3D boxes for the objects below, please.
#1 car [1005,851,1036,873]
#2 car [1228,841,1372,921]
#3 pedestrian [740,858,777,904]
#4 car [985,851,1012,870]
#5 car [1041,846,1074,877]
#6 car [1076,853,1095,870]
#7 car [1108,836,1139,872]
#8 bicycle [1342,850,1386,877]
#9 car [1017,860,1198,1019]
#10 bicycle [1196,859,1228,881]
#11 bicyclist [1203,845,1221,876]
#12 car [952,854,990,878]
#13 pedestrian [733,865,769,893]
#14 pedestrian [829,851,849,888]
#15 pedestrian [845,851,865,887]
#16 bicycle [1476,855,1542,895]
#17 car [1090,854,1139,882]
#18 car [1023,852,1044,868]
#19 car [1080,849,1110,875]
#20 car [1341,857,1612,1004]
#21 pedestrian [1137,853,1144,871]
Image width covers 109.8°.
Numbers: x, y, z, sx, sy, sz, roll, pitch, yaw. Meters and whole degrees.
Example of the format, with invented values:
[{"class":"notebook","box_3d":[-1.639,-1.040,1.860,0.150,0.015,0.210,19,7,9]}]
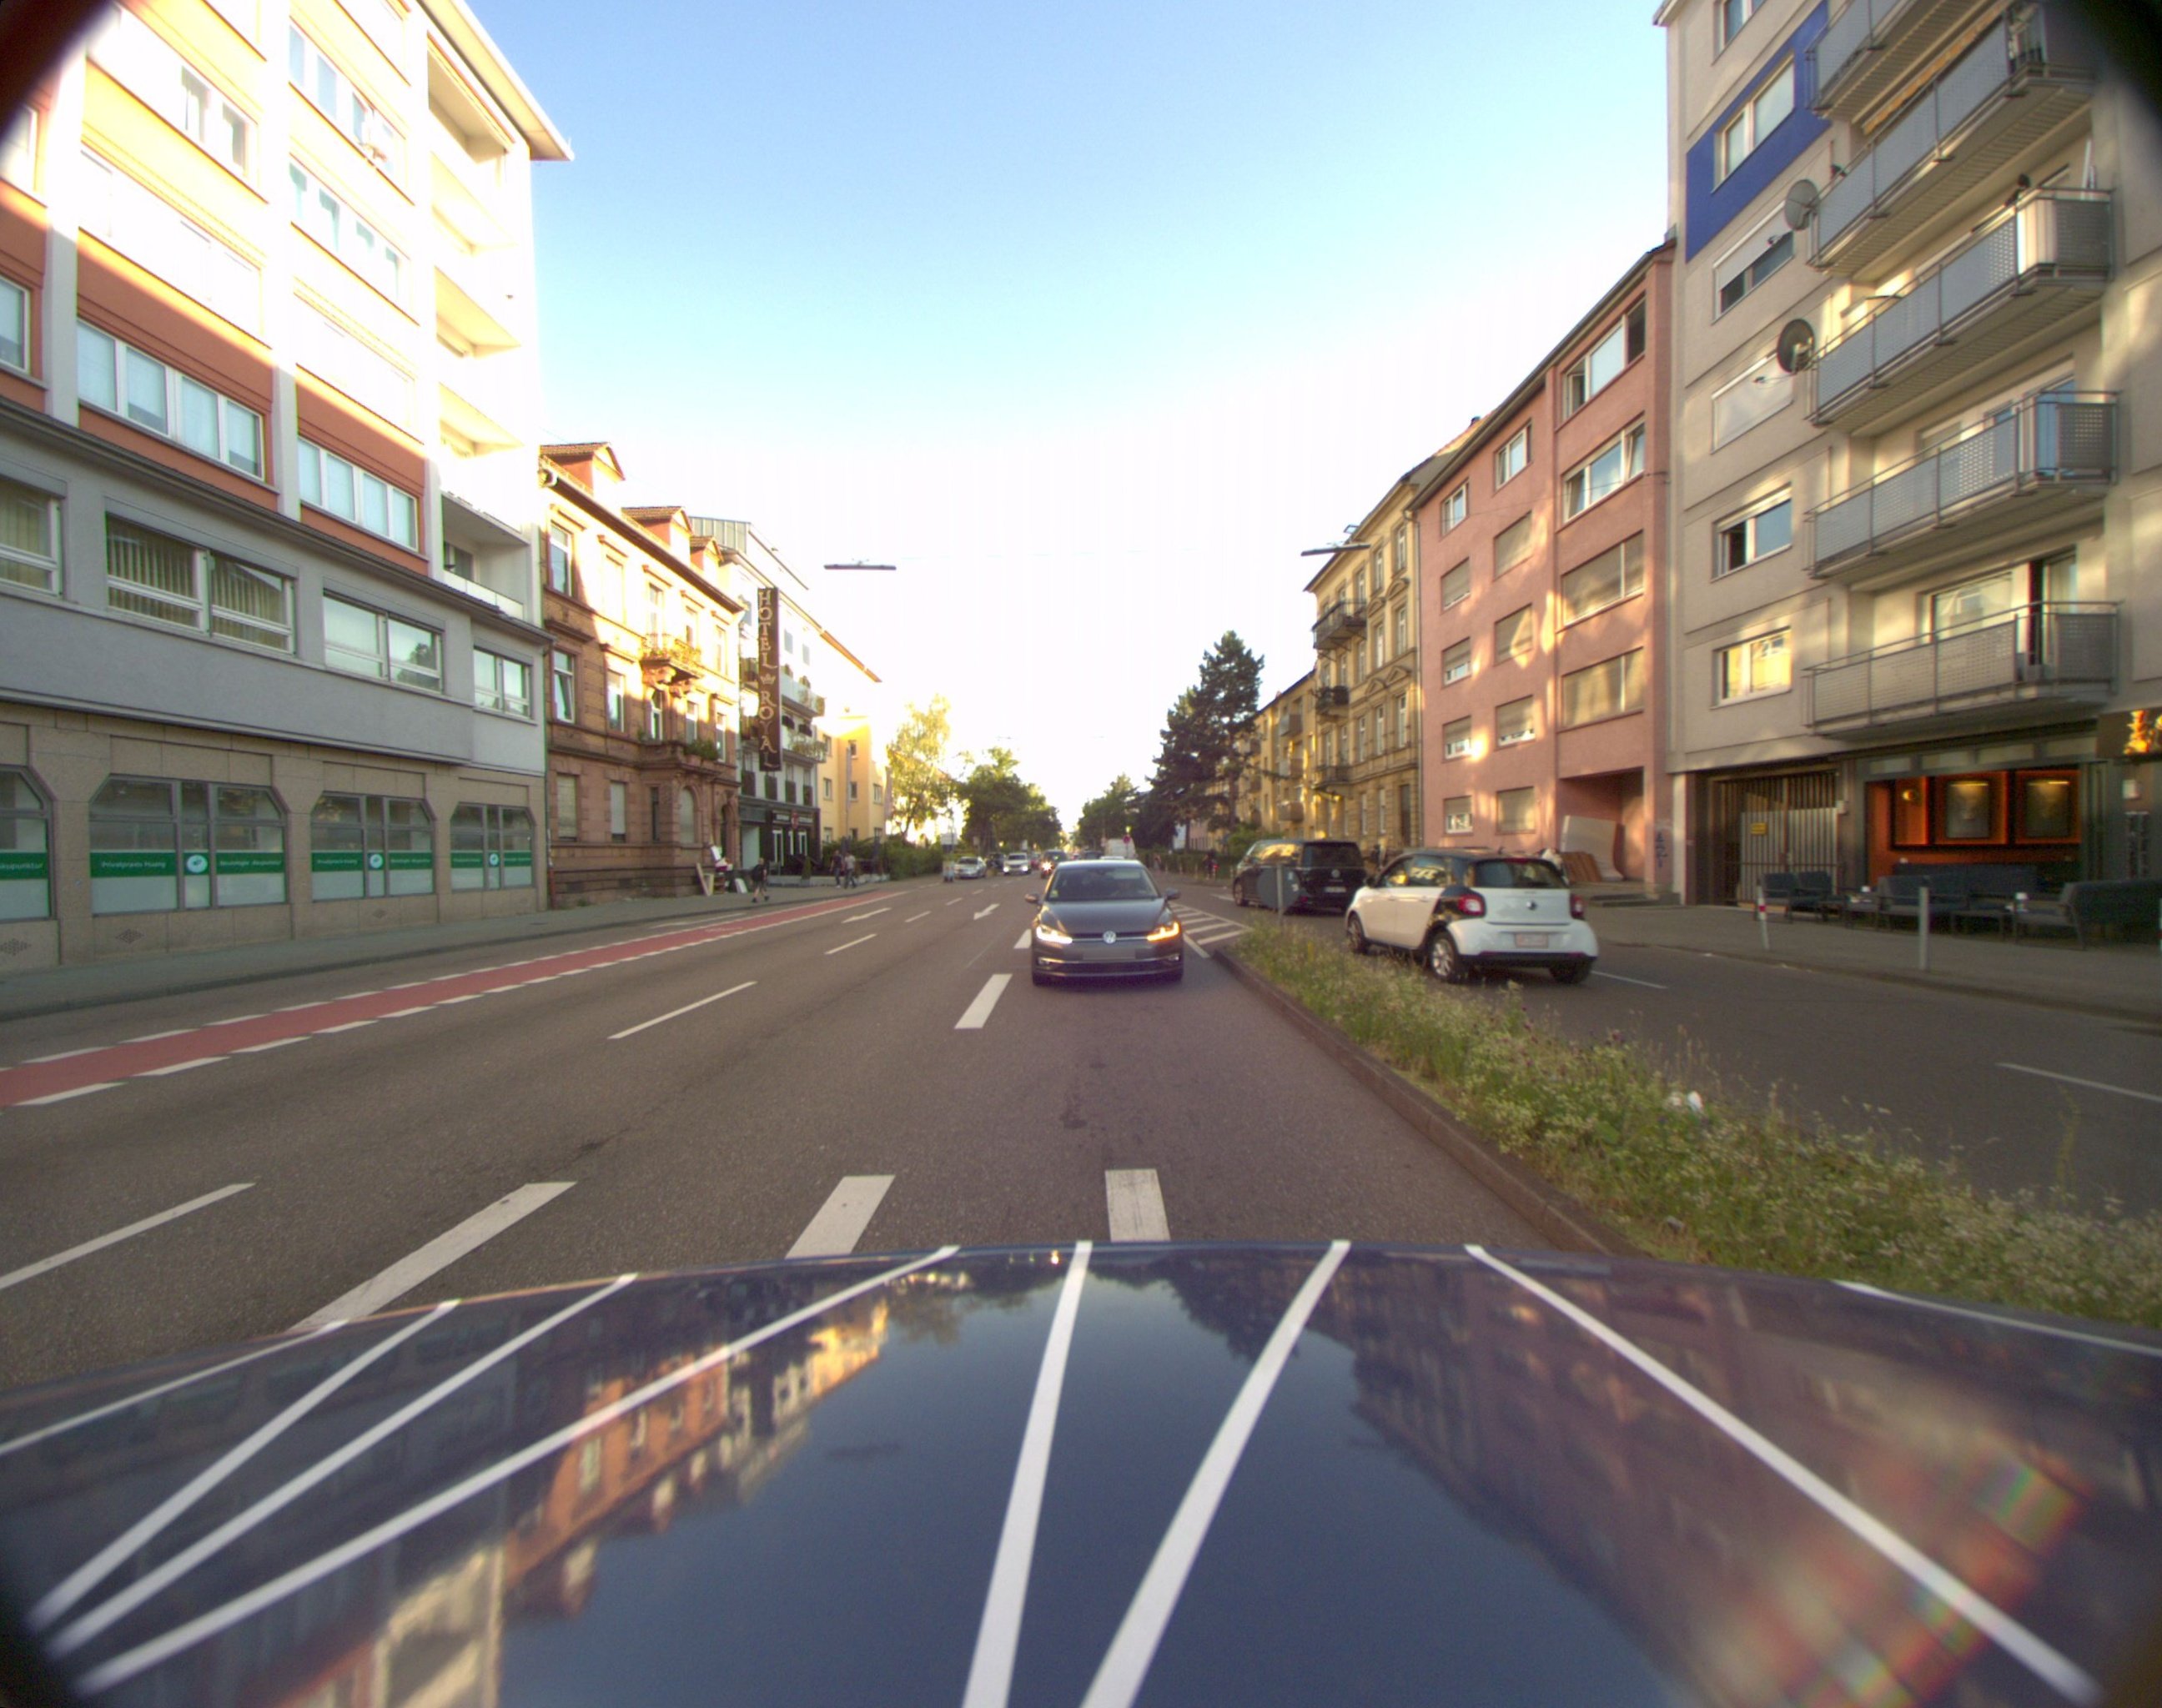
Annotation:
[{"class":"car","box_3d":[-4.631,0.585,58.452,1.921,1.598,4.269,-2,1,1]},{"class":"car","box_3d":[5.529,0.603,19.941,1.896,1.843,4.697,0,0,-8]},{"class":"pedestrian","box_3d":[-11.536,0.945,27.171,0.738,1.593,1.012,2,1,11]},{"class":"car","box_3d":[-7.303,0.520,67.903,1.947,1.615,4.193,-1,0,0]},{"class":"car","box_3d":[-1.413,0.445,47.341,1.895,1.843,4.466,0,0,0]},{"class":"car","box_3d":[0.433,0.698,74.649,1.746,1.631,3.746,0,0,-1]},{"class":"car","box_3d":[3.315,-0.015,60.284,2.136,2.740,4.465,0,1,-1]},{"class":"bicycle","box_3d":[12.630,0.423,33.905,1.780,1.184,0.473,-1,1,-2]},{"class":"car","box_3d":[0.291,0.881,9.786,1.770,1.450,4.269,-2,1,1]},{"class":"bicycle","box_3d":[6.643,0.795,38.626,0.546,1.031,2.283,-1,0,-21]},{"class":"bicyclist","box_3d":[6.647,0.331,38.601,0.546,1.560,0.858,-1,1,-21]},{"class":"car","box_3d":[-7.511,0.806,52.109,1.905,1.508,4.074,-1,0,1]},{"class":"pedestrian","box_3d":[-13.824,1.025,31.899,1.100,1.129,0.924,-1,1,-2]},{"class":"pedestrian","box_3d":[-11.506,0.732,36.144,0.668,1.716,1.010,-1,1,-5]},{"class":"pedestrian","box_3d":[-10.742,0.703,36.108,0.668,1.716,1.010,-1,1,-5]},{"class":"bicycle","box_3d":[13.067,0.624,23.204,1.780,1.184,0.473,-1,1,-2]},{"class":"car","box_3d":[1.735,0.713,40.607,1.896,1.382,4.265,0,0,-8]},{"class":"car","box_3d":[-4.477,0.552,72.142,1.674,1.454,3.999,-2,1,1]},{"class":"car","box_3d":[0.956,0.522,52.727,1.895,1.729,4.292,0,0,-2]},{"class":"car","box_3d":[4.800,0.821,9.796,1.596,1.533,3.403,0,0,-3]},{"class":"pedestrian","box_3d":[5.358,0.690,67.944,0.577,1.591,0.481,-1,1,0]}]
